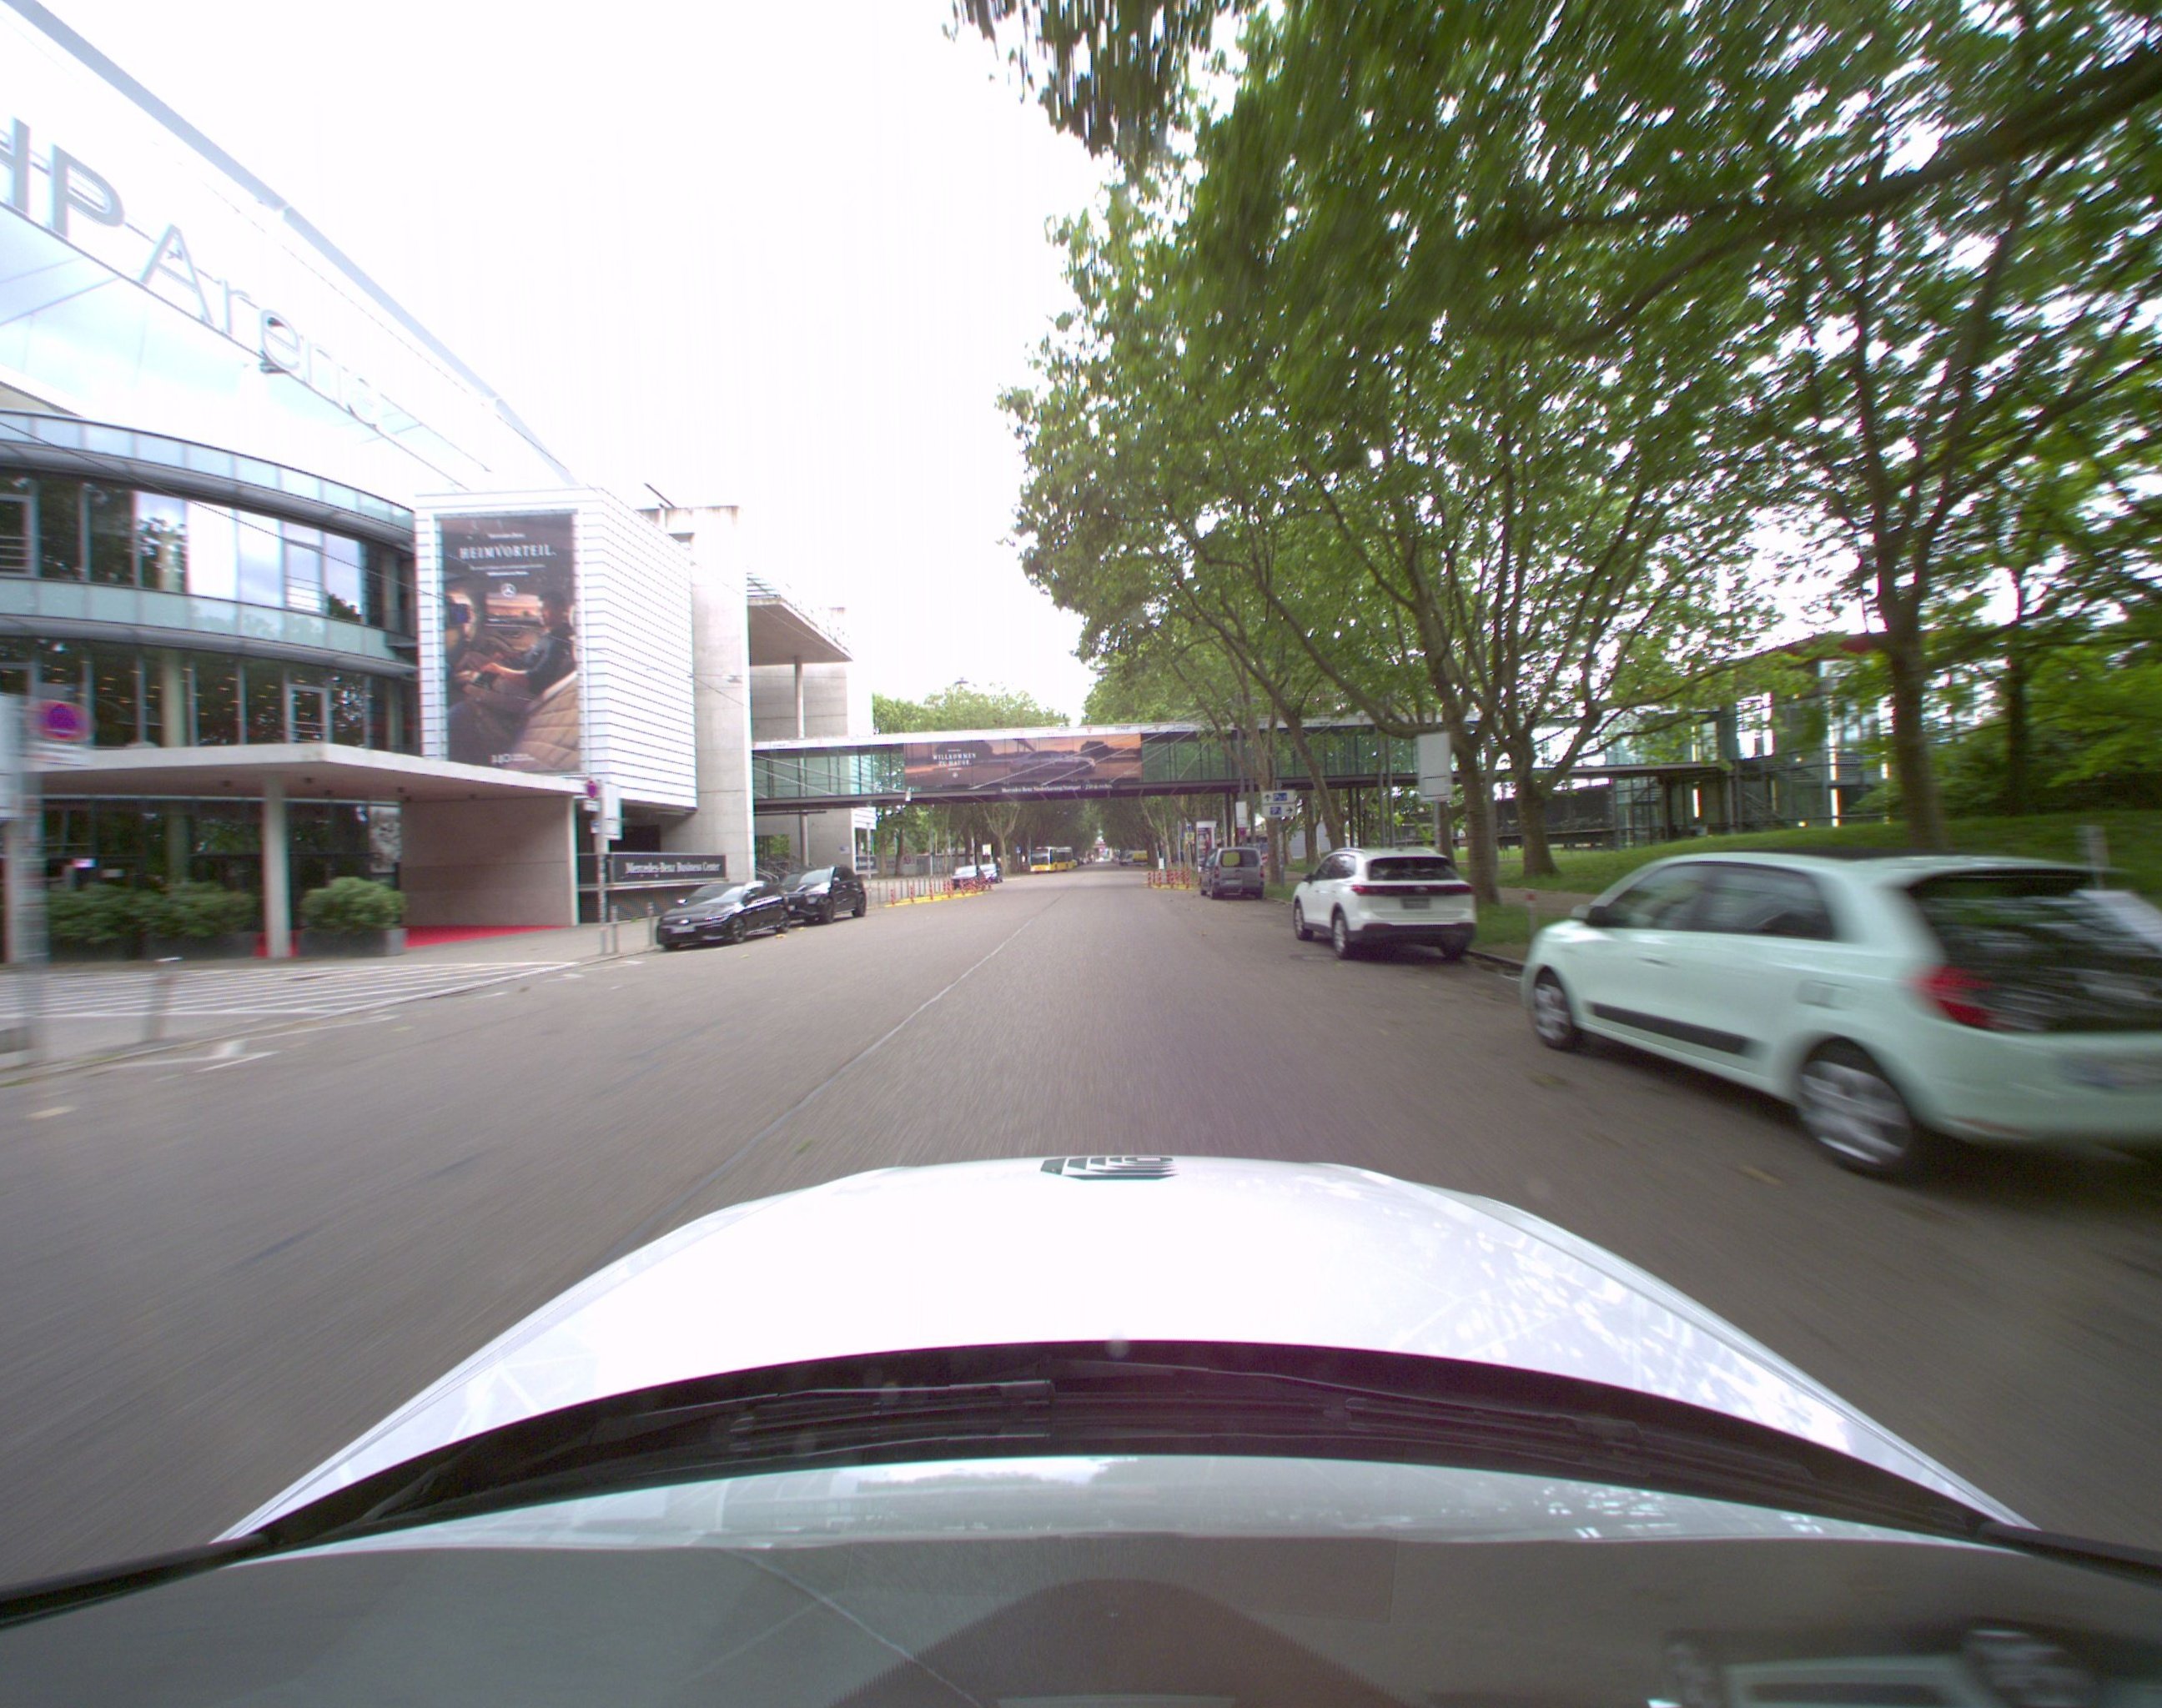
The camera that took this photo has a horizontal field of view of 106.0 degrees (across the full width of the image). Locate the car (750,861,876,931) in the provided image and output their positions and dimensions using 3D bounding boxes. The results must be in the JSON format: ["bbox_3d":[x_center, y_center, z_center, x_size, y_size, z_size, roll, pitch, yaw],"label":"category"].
[{"bbox_3d":[-8.262,1.212,25.661,2.027,1.789,4.910,-5,0,2],"label":"car"}]

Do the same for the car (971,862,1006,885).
[{"bbox_3d":[-7.141,1.490,63.293,1.986,1.584,4.115,-5,0,2],"label":"car"}]

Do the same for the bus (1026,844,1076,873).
[{"bbox_3d":[-3.491,0.469,100.174,3.019,3.160,12.716,-4,-1,11],"label":"bus"}]

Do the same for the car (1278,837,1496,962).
[{"bbox_3d":[4.706,0.627,13.376,1.907,1.618,4.751,-2,-1,2],"label":"car"}]

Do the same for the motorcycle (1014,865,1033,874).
[{"bbox_3d":[-7.874,2.070,111.660,2.602,1.123,0.698,-2,-1,-22],"label":"motorcycle"}]

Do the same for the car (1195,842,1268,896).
[{"bbox_3d":[5.379,0.526,29.782,1.840,1.783,5.213,-1,0,2],"label":"car"}]

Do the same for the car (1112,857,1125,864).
[{"bbox_3d":[11.270,2.051,243.574,3.972,1.861,1.638,-2,-1,2],"label":"car"}]

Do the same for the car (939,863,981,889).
[{"bbox_3d":[-8.076,1.427,54.659,1.851,1.453,4.451,-5,0,2],"label":"car"}]

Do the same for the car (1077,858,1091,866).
[{"bbox_3d":[0.866,2.389,244.009,3.972,1.970,2.001,-2,-1,2],"label":"car"}]

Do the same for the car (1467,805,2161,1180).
[{"bbox_3d":[4.415,0.580,5.443,1.800,1.526,4.098,-2,-1,2],"label":"car"}]

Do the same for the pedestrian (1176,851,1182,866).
[{"bbox_3d":[12.673,0.569,105.822,0.572,1.888,0.615,-2,-1,-7],"label":"pedestrian"}]

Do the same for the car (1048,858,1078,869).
[{"bbox_3d":[-2.825,1.523,130.016,4.681,1.584,1.865,-2,-1,2],"label":"car"}]

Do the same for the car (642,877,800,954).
[{"bbox_3d":[-8.616,1.414,19.975,1.698,1.419,4.327,-5,0,2],"label":"car"}]

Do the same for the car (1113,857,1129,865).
[{"bbox_3d":[9.421,1.605,193.025,3.609,1.794,1.543,-2,-1,1],"label":"car"}]

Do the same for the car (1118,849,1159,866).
[{"bbox_3d":[9.815,0.595,139.749,6.802,2.513,2.316,-2,0,-1],"label":"car"}]

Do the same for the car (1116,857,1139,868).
[{"bbox_3d":[8.413,1.498,147.226,3.973,1.794,1.543,-2,-1,1],"label":"car"}]

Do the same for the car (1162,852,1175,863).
[{"bbox_3d":[15.820,0.646,147.743,1.986,1.772,4.002,-2,-1,2],"label":"car"}]

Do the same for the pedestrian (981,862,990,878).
[{"bbox_3d":[-9.581,1.639,81.886,0.670,1.603,0.606,-2,-1,-24],"label":"pedestrian"}]
